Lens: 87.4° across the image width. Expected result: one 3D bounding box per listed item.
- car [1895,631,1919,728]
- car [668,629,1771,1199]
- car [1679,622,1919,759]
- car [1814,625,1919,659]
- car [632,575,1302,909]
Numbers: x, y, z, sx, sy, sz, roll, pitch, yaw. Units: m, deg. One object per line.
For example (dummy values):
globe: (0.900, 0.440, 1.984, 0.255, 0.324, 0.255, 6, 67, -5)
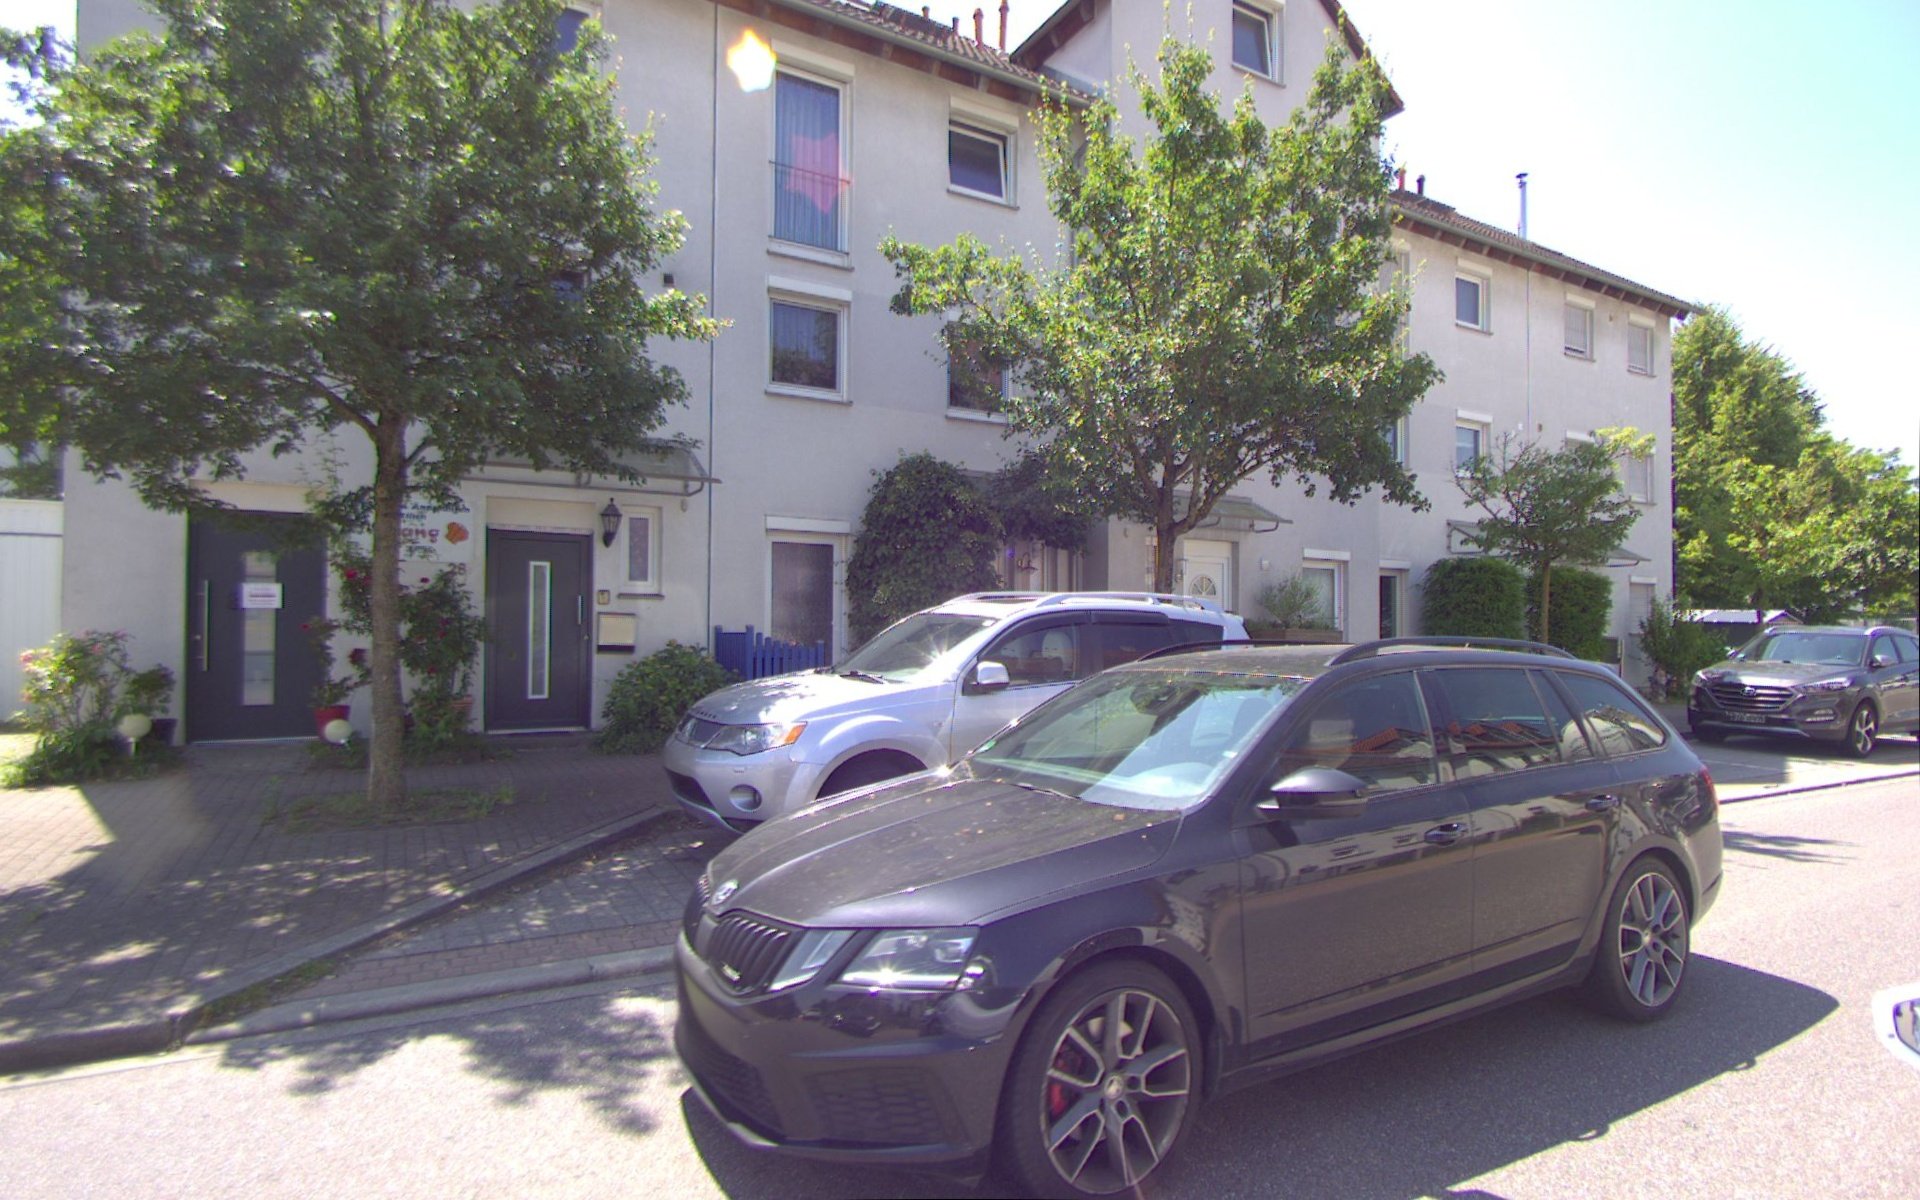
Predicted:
car: (17.762, 1.363, 17.123, 3.793, 1.602, 1.689, 2, -1, -31)
car: (1.180, 0.878, 3.945, 4.205, 1.465, 1.711, 1, -3, -30)
car: (11.924, 1.167, 13.932, 3.950, 1.641, 1.684, 2, -1, -30)
car: (46.623, 2.109, 51.095, 1.714, 1.673, 4.618, 1, -1, -21)
car: (0.197, 0.778, 7.045, 4.474, 1.709, 1.697, 2, -1, -31)
